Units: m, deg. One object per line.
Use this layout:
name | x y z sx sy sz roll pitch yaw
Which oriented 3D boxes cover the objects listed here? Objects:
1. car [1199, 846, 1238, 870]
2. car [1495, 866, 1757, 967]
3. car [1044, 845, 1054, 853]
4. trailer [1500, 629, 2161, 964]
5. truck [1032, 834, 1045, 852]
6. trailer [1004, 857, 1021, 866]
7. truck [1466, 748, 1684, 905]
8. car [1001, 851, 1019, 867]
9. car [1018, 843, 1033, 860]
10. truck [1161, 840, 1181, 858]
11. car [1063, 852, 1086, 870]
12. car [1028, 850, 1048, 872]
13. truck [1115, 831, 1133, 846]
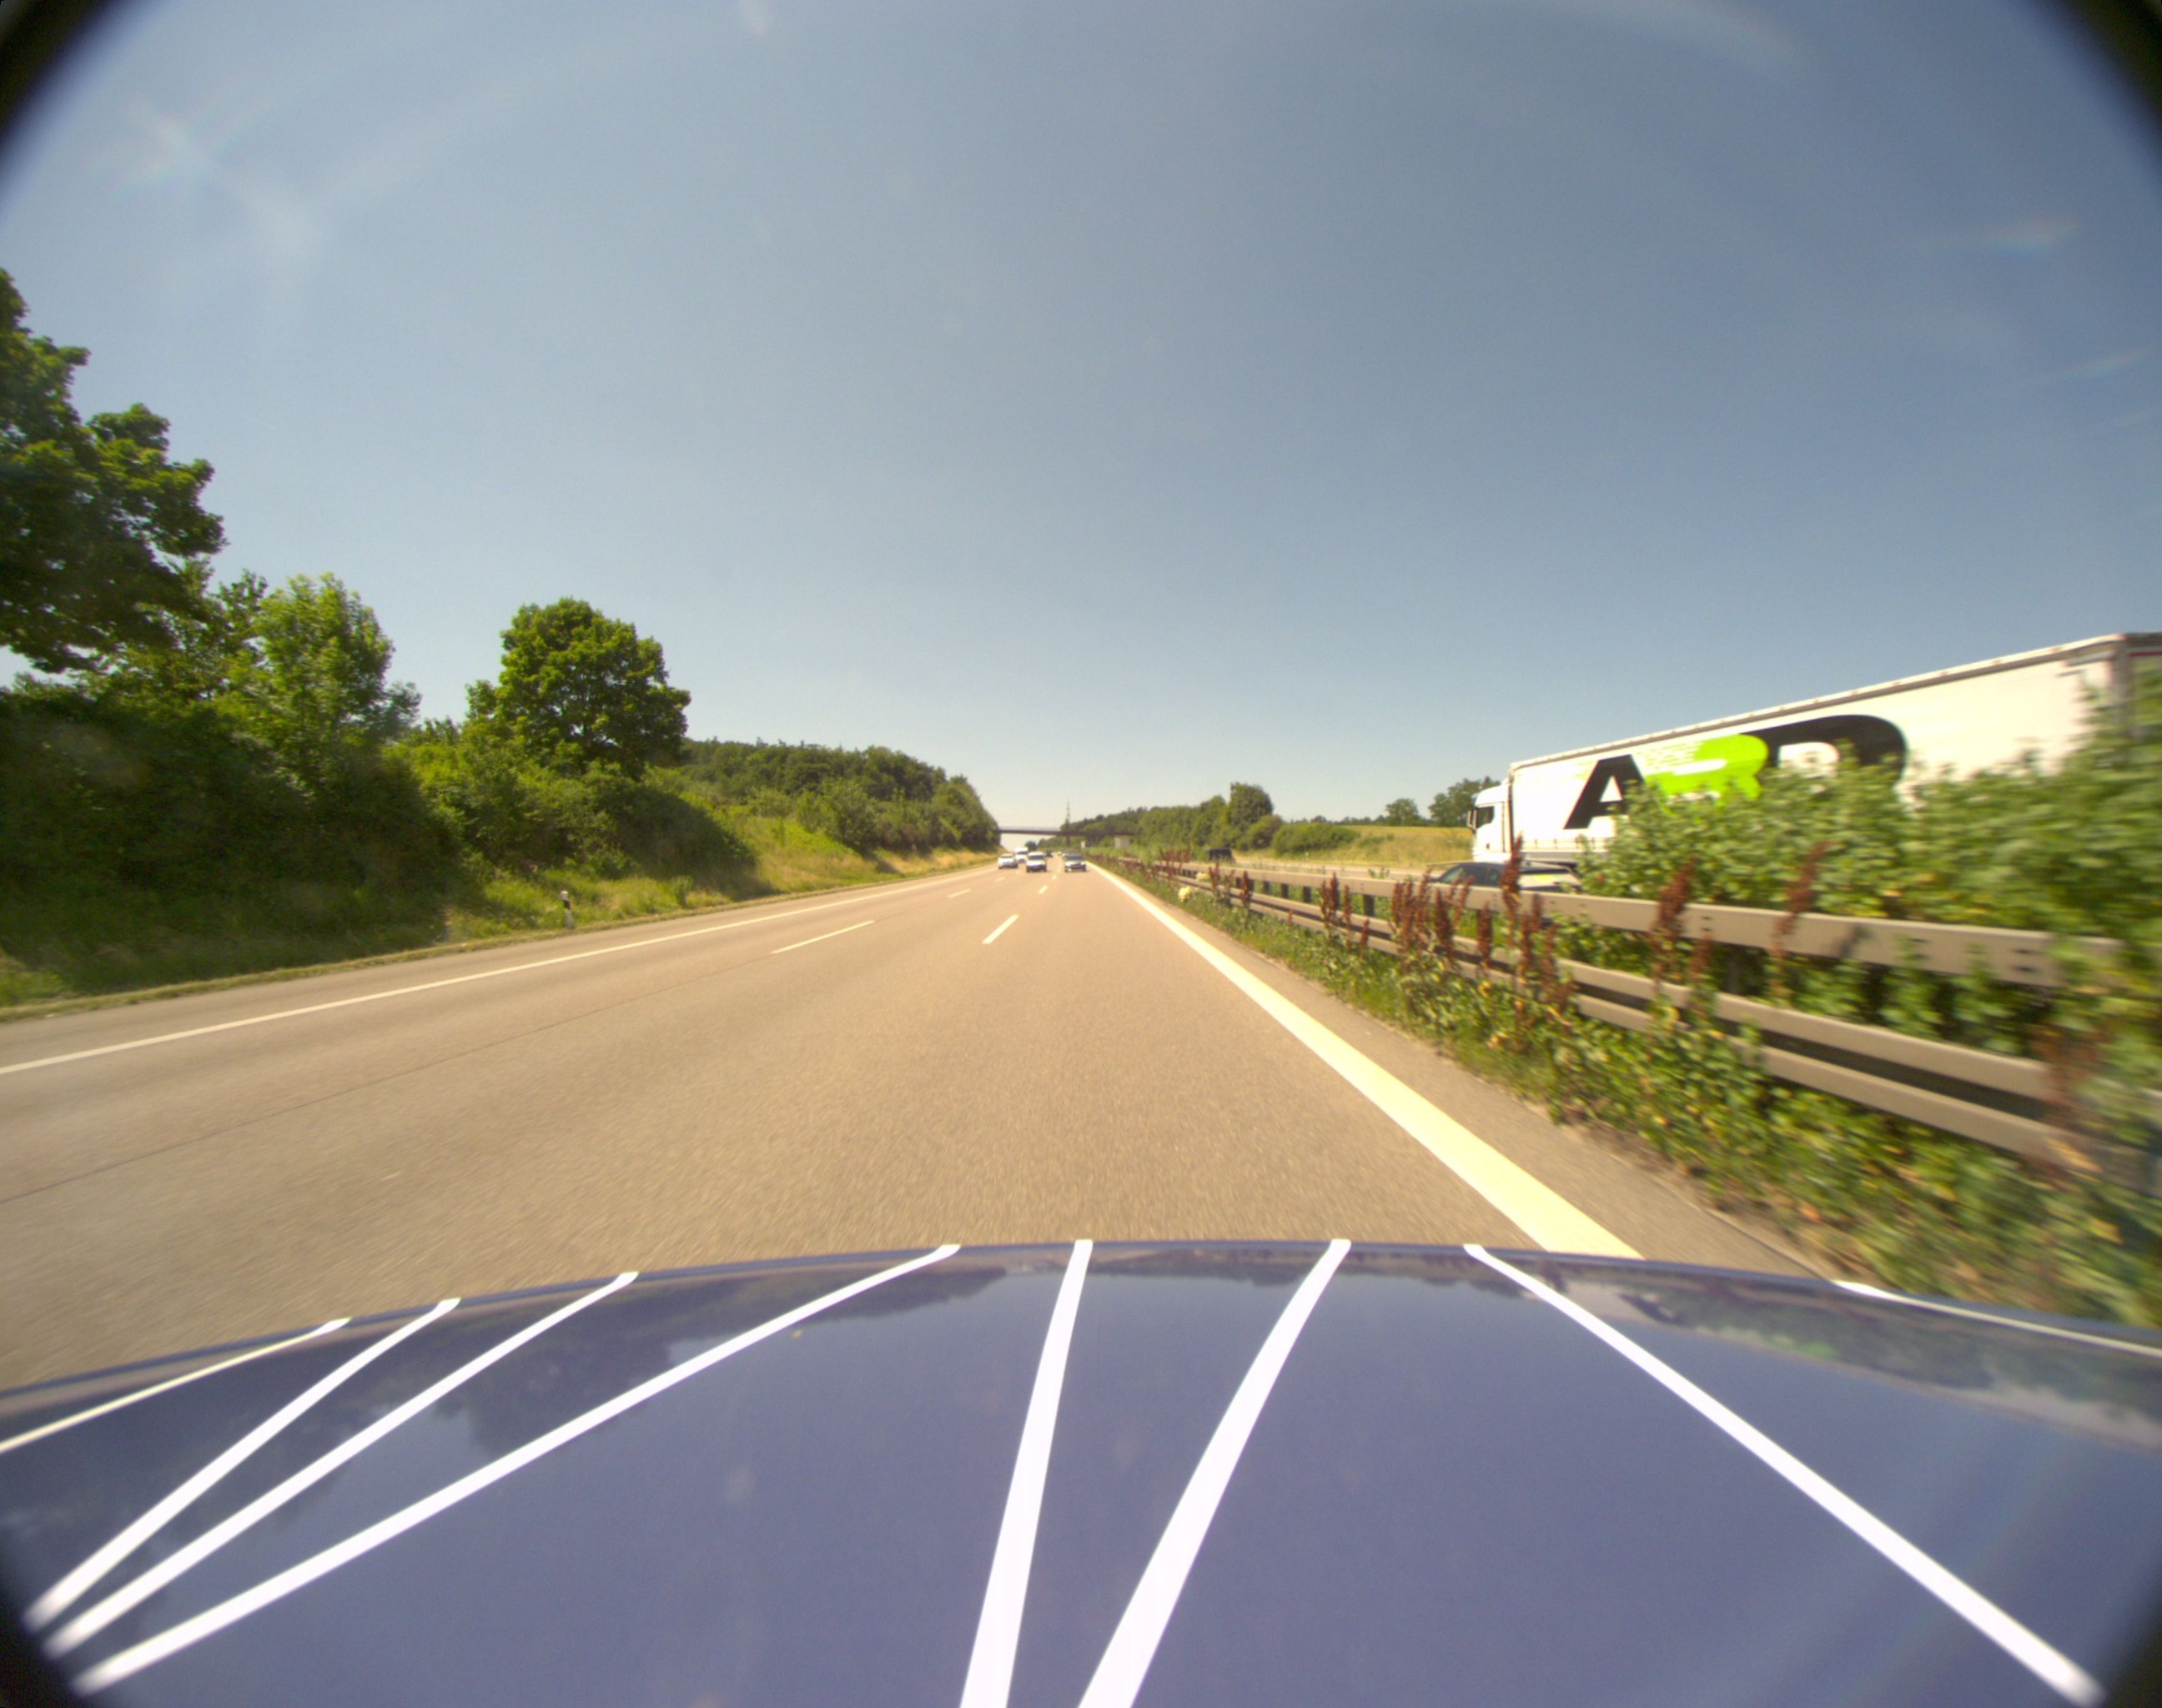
car | 9.470 0.274 52.632 1.920 1.579 4.223 -2 0 0
car | 8.560 0.892 12.397 1.633 1.294 3.770 -2 0 2
car | -6.877 -1.104 163.136 1.789 1.550 3.940 -2 0 -8
trailer | 14.311 -0.727 16.231 3.200 4.052 14.044 -2 0 2
truck | -9.519 -2.456 169.845 2.517 3.819 4.889 -2 0 -8
trailer | -8.306 0.898 92.170 1.759 0.903 4.318 -2 1 -2
truck | 14.569 -0.721 23.009 3.183 4.085 5.227 -2 0 2
car | -8.192 0.567 87.800 1.786 1.641 4.402 -2 0 -2
car | -8.733 -0.435 120.926 2.095 2.561 6.620 -2 0 -3
truck | 12.776 -0.696 108.197 2.025 2.473 5.562 -2 1 0
car | -0.615 0.615 65.532 1.769 1.400 3.998 -2 0 -3
car | -3.898 0.599 69.081 1.750 1.819 4.799 -2 1 -3
truck | 11.942 -4.318 212.717 2.983 3.991 16.820 -2 1 -3
